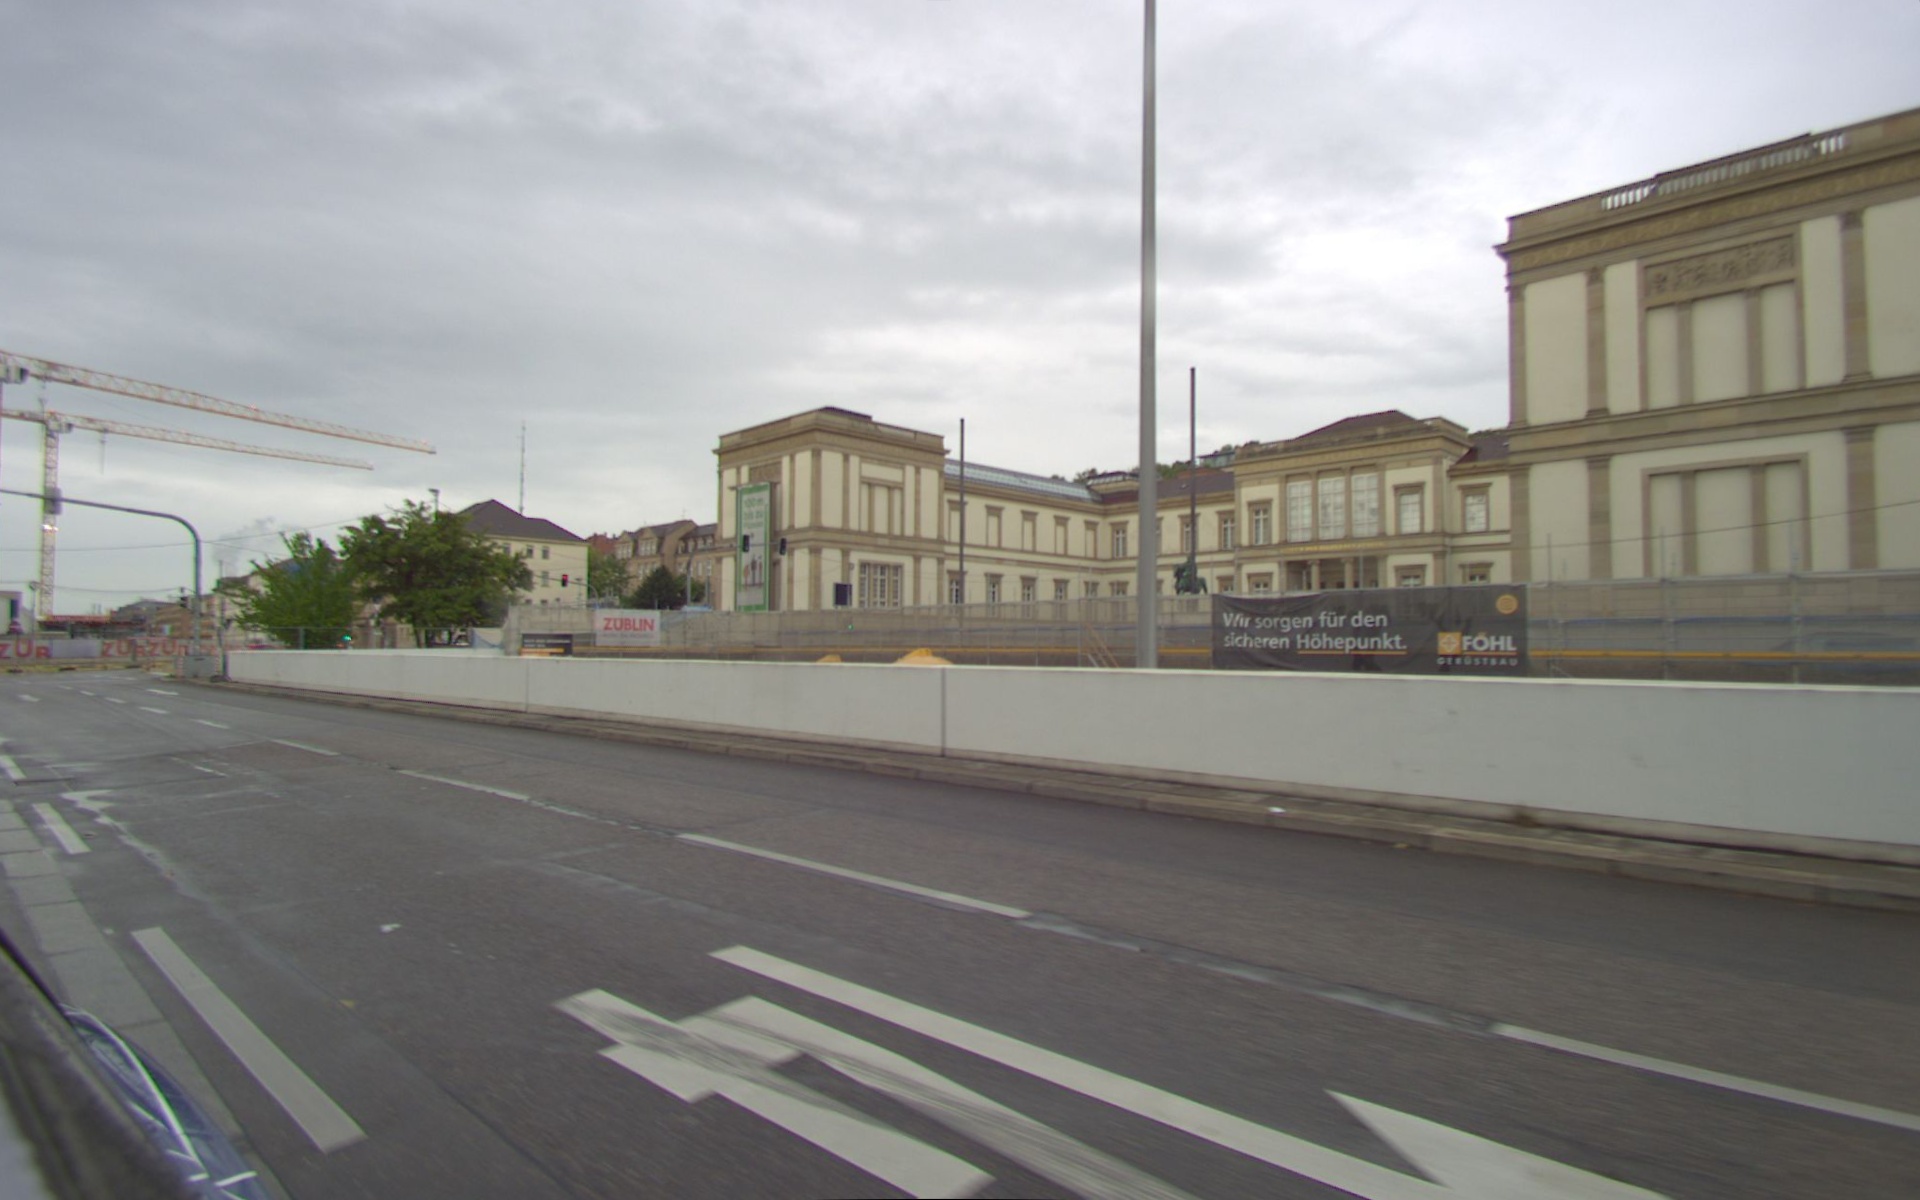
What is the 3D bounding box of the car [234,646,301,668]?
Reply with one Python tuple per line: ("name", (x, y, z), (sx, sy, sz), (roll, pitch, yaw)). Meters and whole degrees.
("car", (-54.210, 4.453, 79.283), (1.684, 1.564, 3.960), (-2, -1, 29))
